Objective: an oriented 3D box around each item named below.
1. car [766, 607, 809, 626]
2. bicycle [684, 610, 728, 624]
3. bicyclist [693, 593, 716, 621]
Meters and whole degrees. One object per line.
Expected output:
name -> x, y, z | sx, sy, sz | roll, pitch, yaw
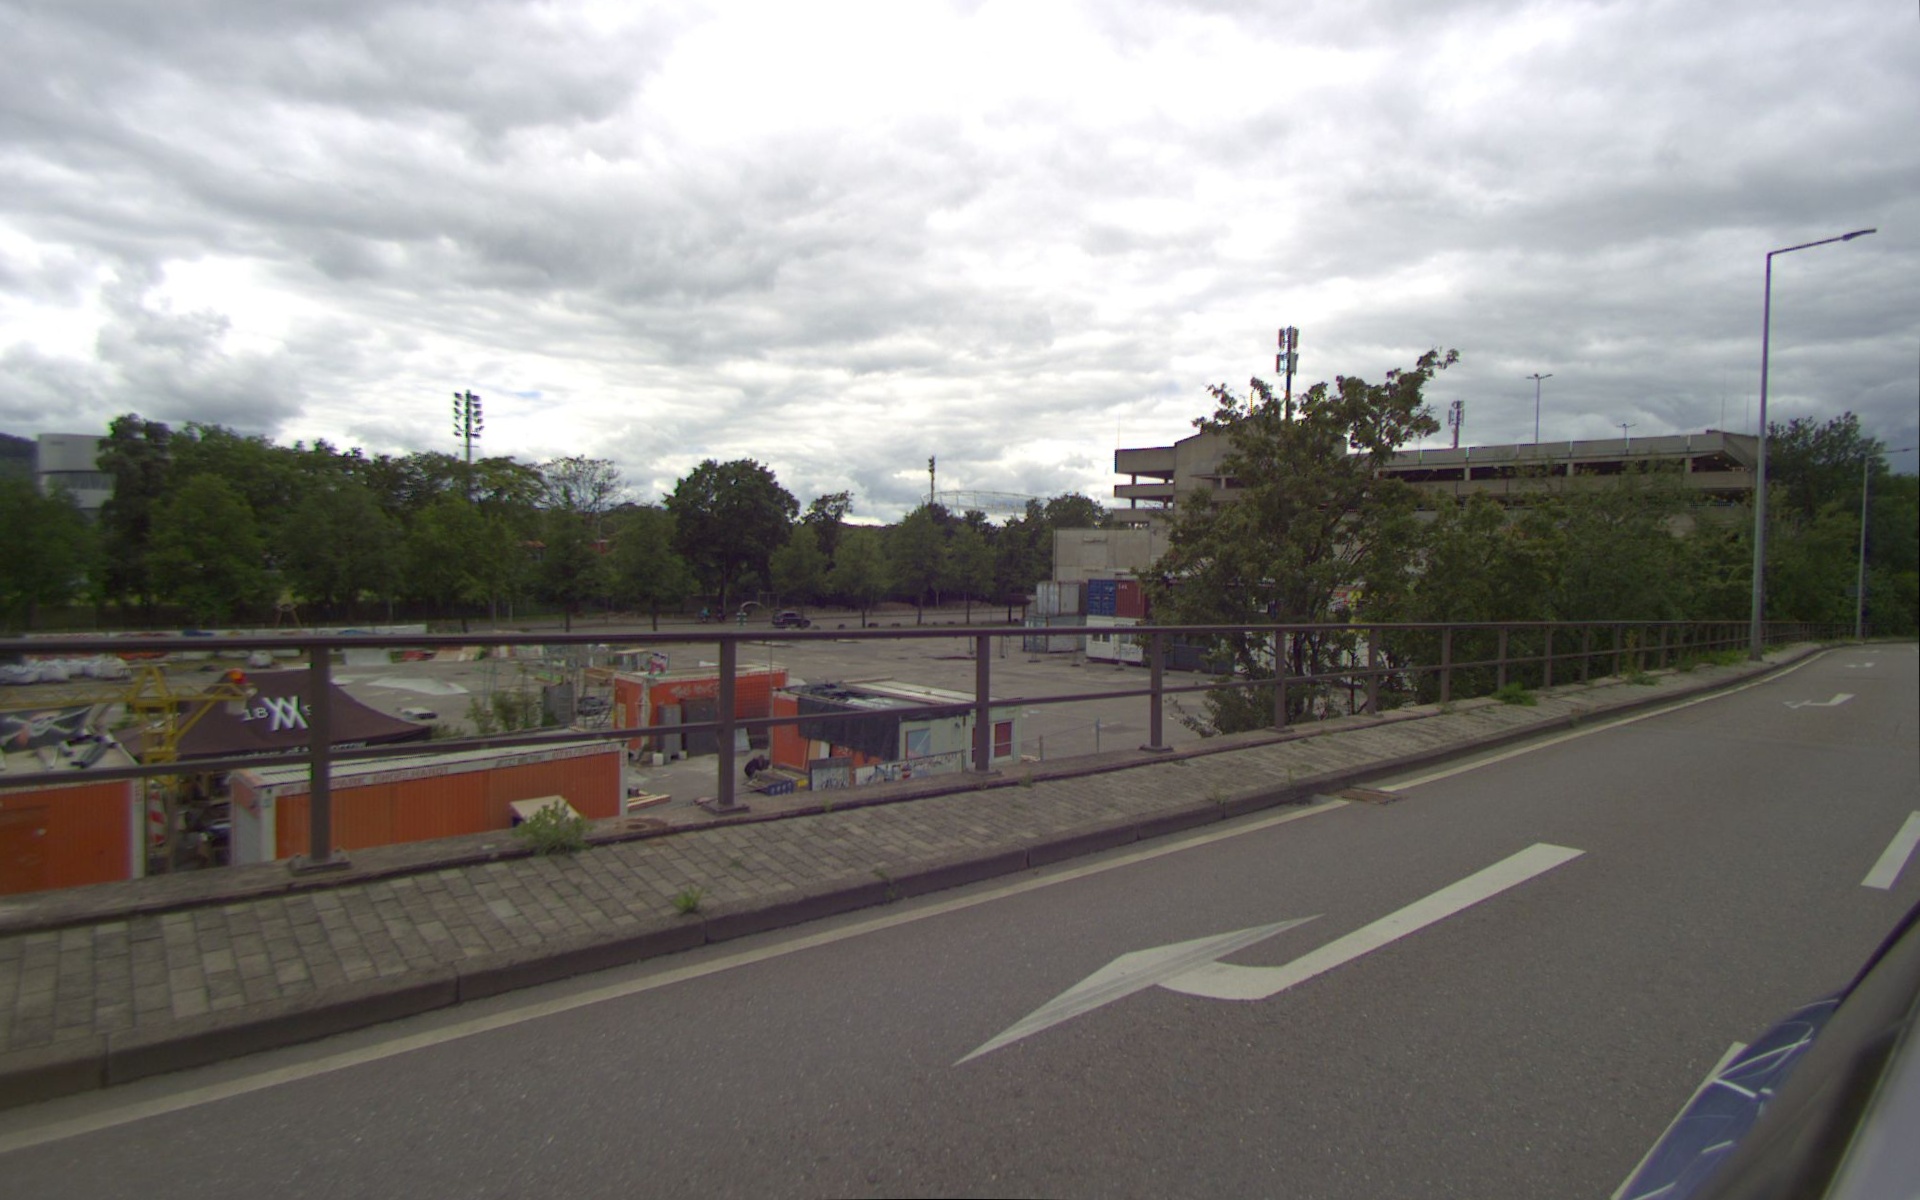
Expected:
car -> -17.740, 1.730, 104.297 | 1.993, 1.839, 3.937 | -3, -2, 43
bicycle -> -25.983, 1.718, 103.762 | 1.497, 1.304, 4.263 | 2, 2, 43
bicyclist -> -26.148, 0.702, 103.544 | 1.498, 2.737, 1.843 | 1, 1, 43
